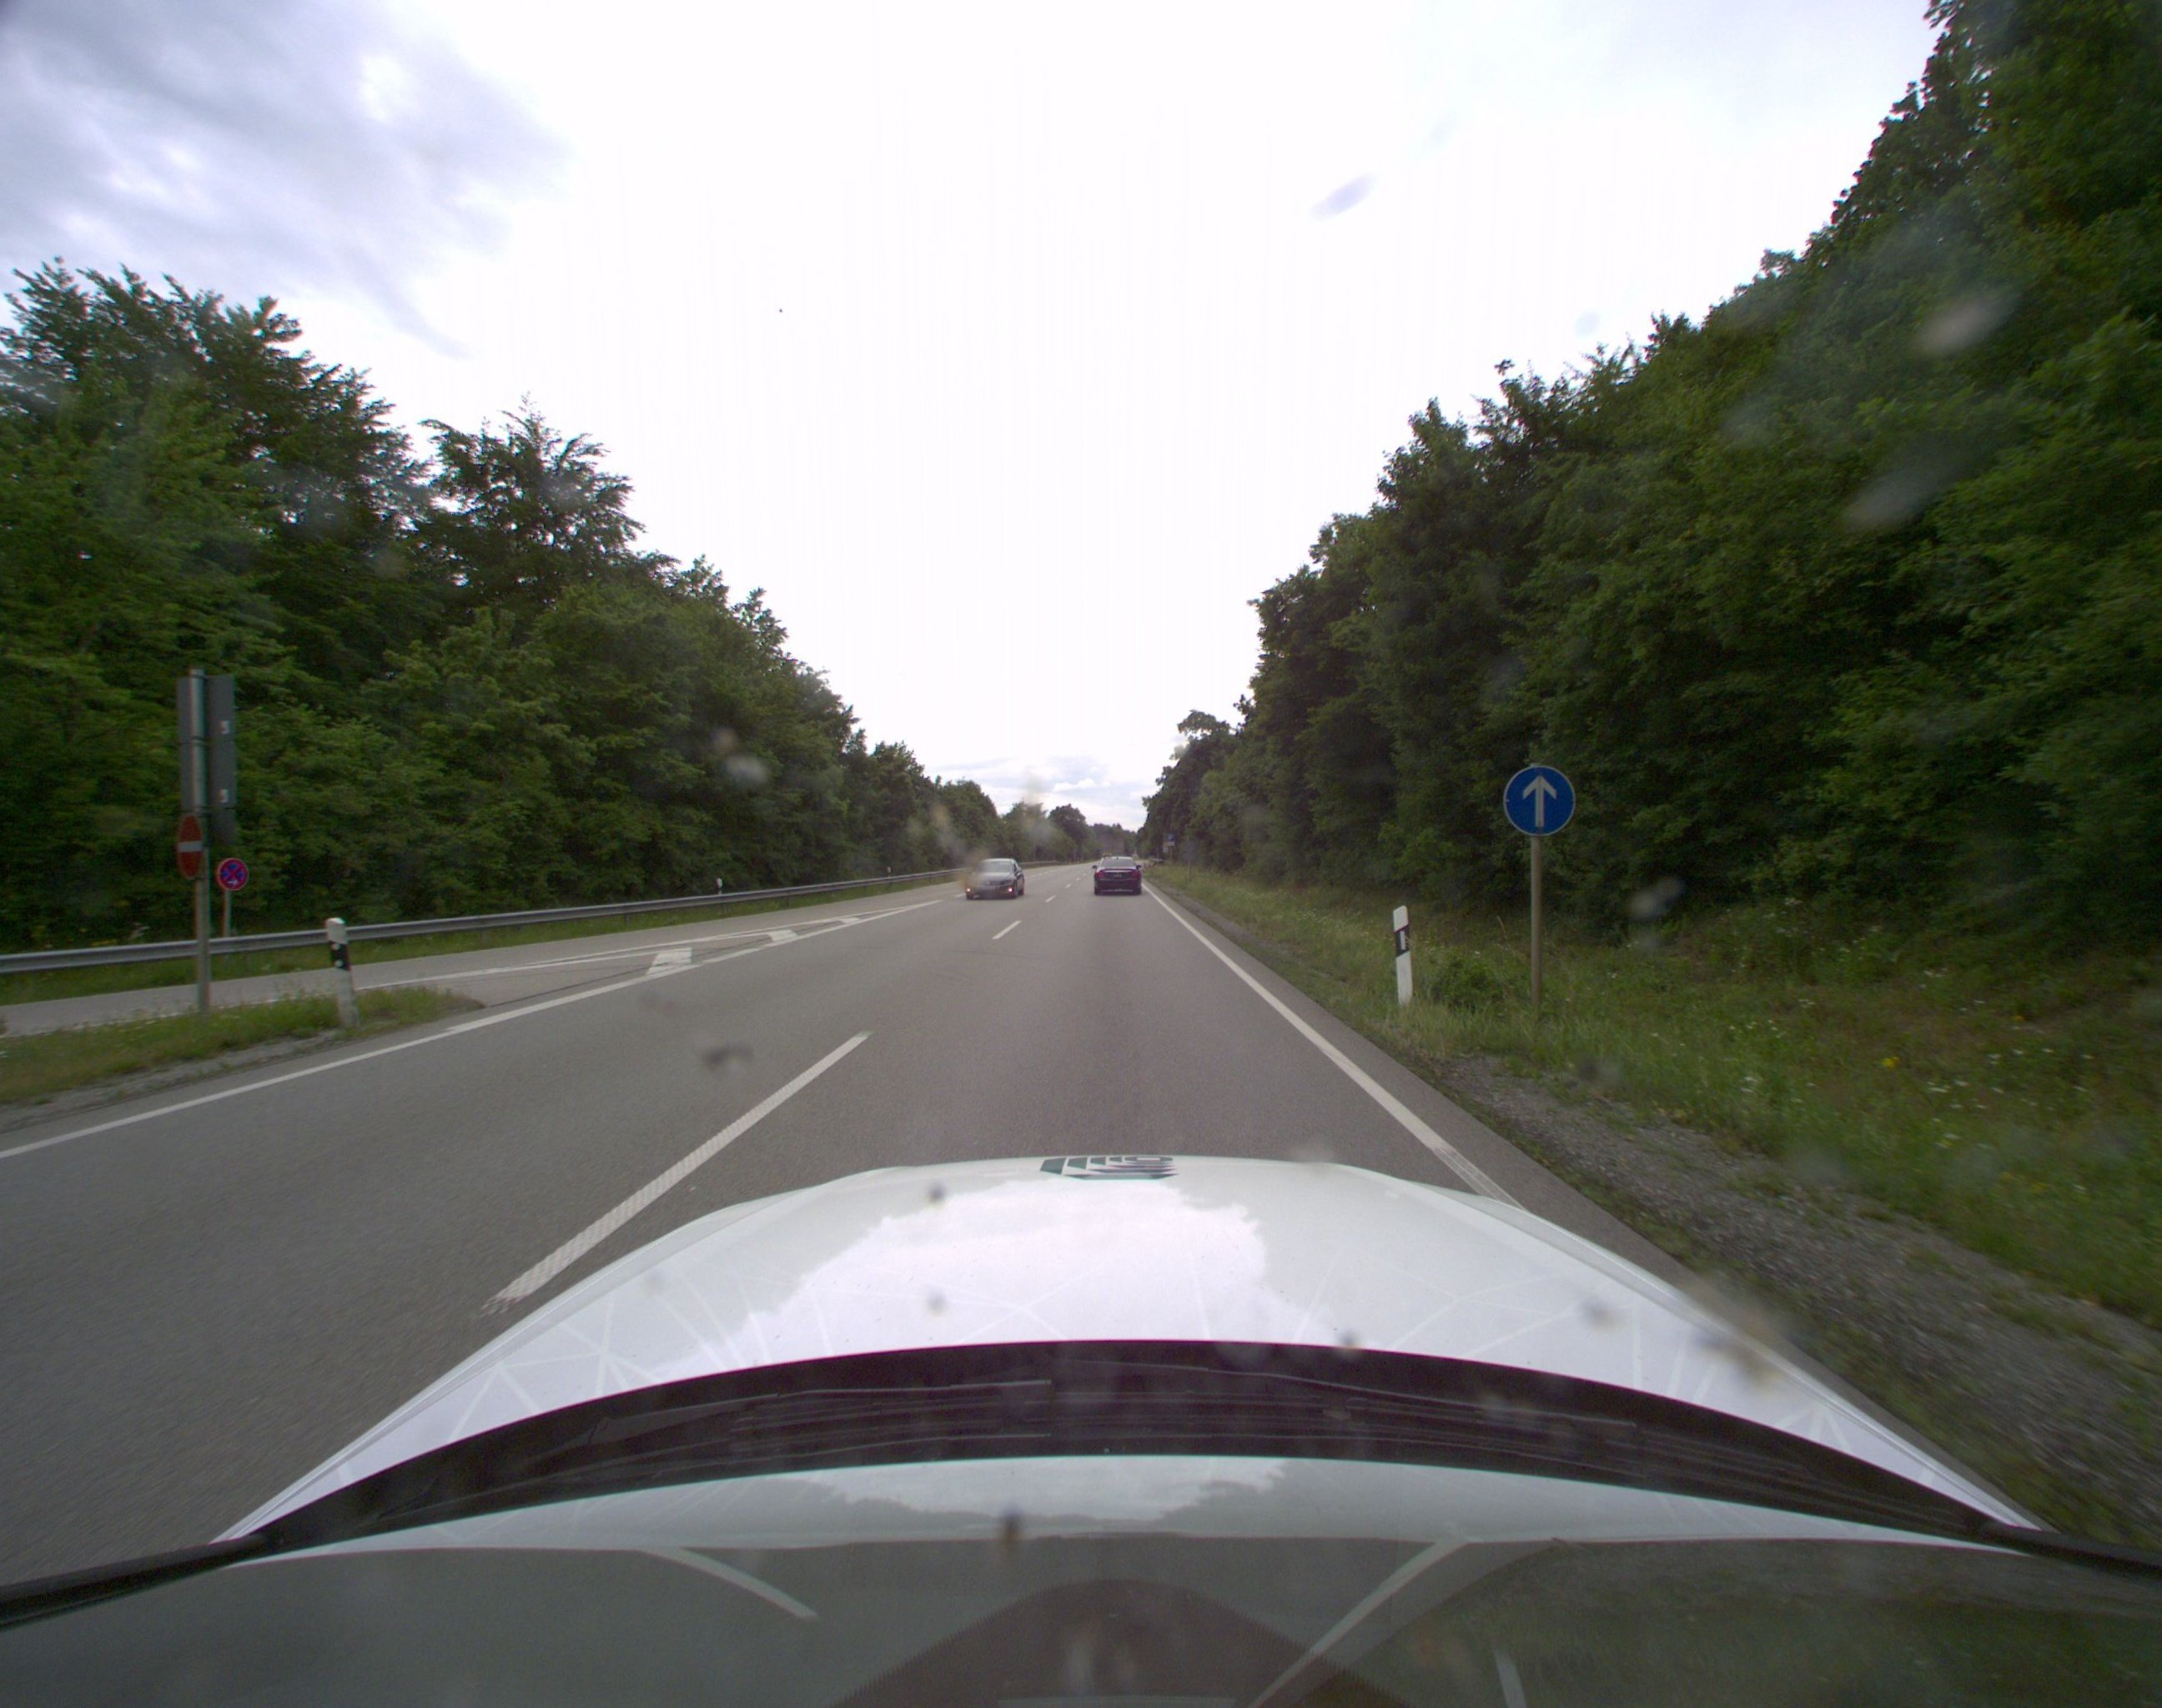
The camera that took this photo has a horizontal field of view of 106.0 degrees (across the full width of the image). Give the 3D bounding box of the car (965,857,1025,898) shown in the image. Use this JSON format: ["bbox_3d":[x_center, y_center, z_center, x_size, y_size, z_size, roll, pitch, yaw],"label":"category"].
[{"bbox_3d":[-3.217,0.852,31.192,1.802,1.442,4.447,-1,0,0],"label":"car"}]

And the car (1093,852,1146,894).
[{"bbox_3d":[1.464,0.701,32.354,1.787,1.552,3.997,-1,0,-2],"label":"car"}]

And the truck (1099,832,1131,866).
[{"bbox_3d":[3.785,-0.524,91.346,3.268,3.611,11.405,-1,0,2],"label":"truck"}]
